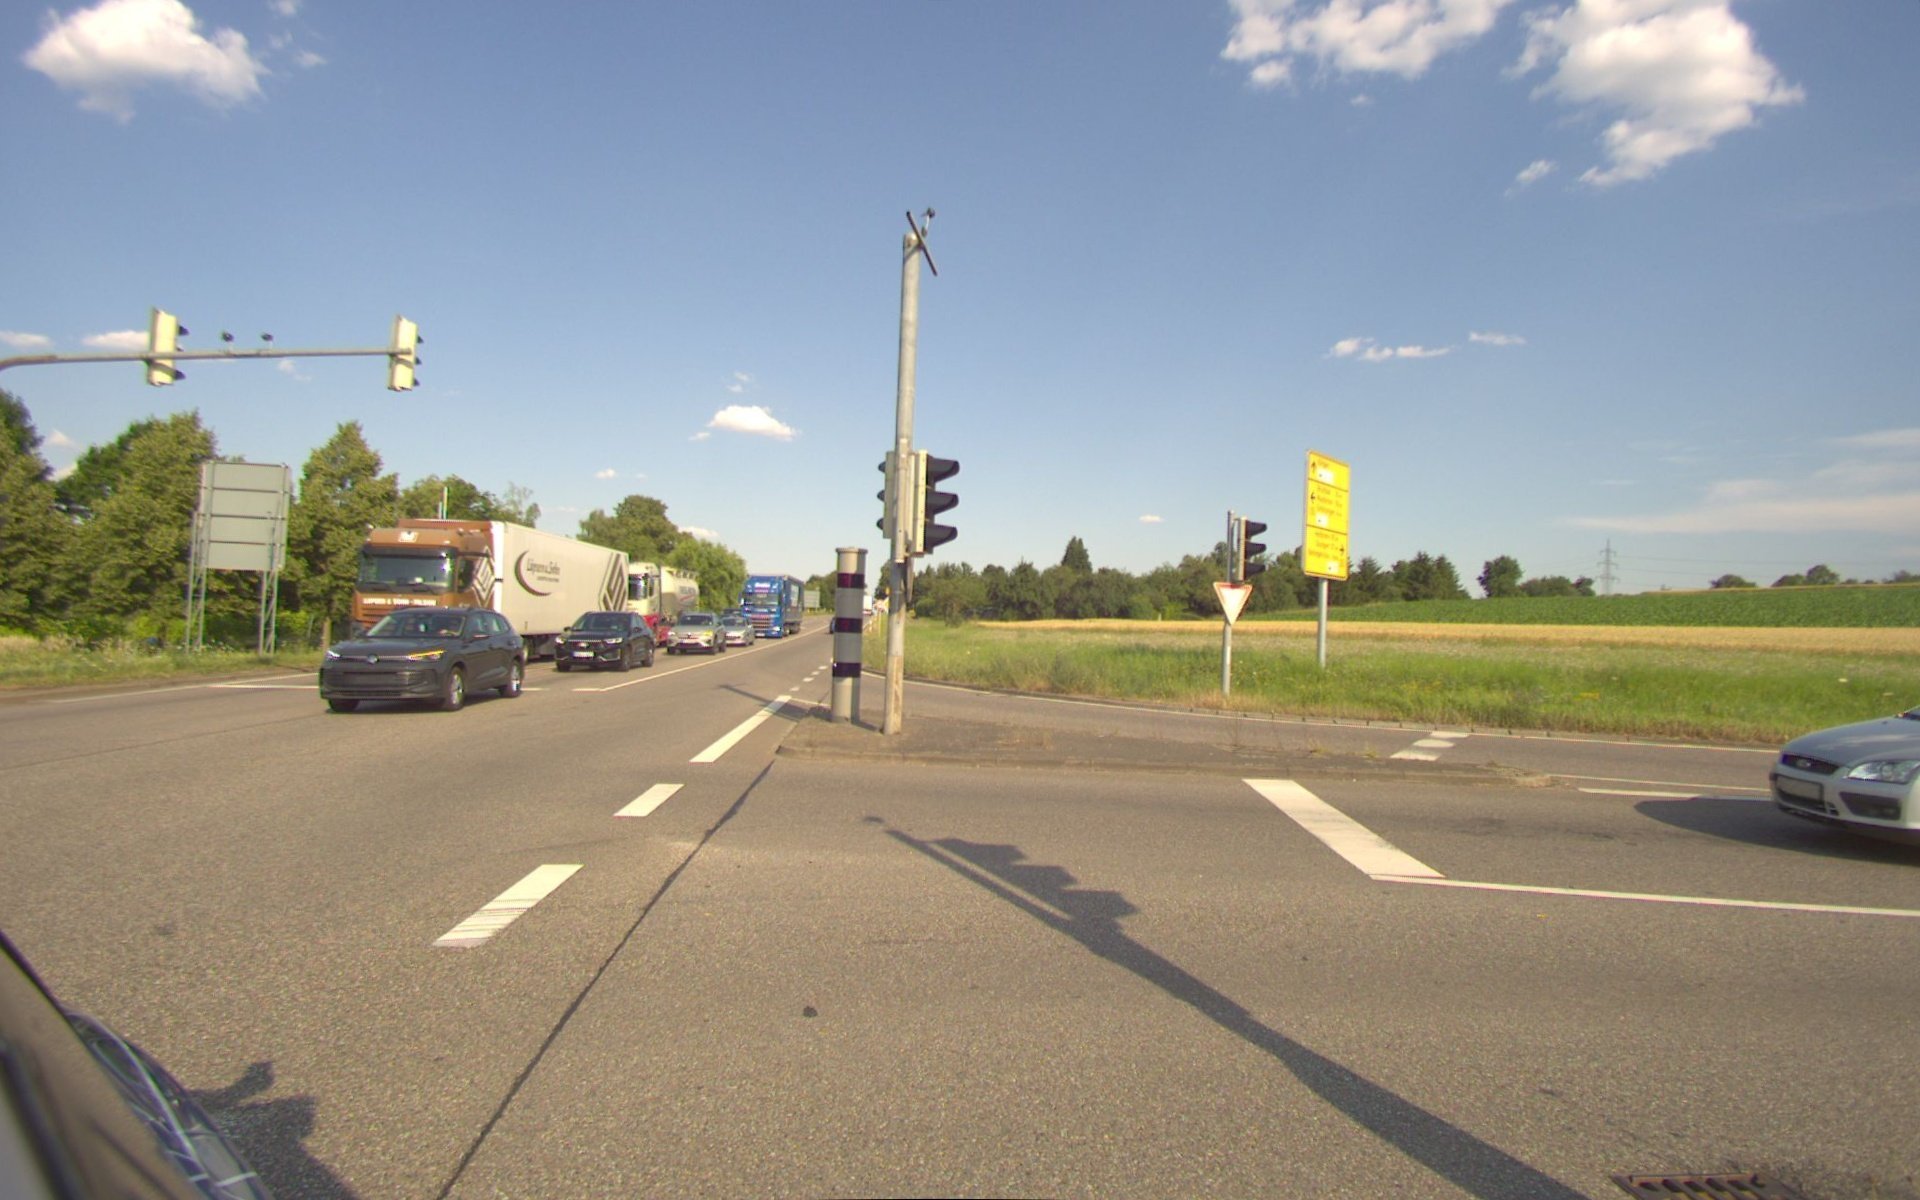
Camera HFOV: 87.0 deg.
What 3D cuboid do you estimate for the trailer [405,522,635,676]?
[{"bbox_3d":[-14.013,0.171,34.133,2.502,4.098,14.348,0,-2,-4],"label":"trailer"}]

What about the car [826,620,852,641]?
[{"bbox_3d":[-9.087,2.302,75.809,1.737,1.512,4.007,2,-2,-8],"label":"car"}]

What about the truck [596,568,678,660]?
[{"bbox_3d":[-14.321,0.630,45.200,2.228,3.834,5.692,0,-1,-5],"label":"truck"}]

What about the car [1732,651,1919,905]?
[{"bbox_3d":[8.240,1.125,6.880,4.308,1.540,1.813,-2,-2,12],"label":"car"}]

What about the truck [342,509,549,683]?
[{"bbox_3d":[-13.427,-0.026,27.114,2.502,4.074,6.667,0,-1,-4],"label":"truck"}]

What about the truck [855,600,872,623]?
[{"bbox_3d":[-19.464,2.420,204.294,3.399,4.531,9.497,0,-1,-5],"label":"truck"}]

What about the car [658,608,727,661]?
[{"bbox_3d":[-10.467,1.333,39.915,1.879,1.962,4.377,0,-1,-5],"label":"car"}]

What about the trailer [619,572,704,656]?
[{"bbox_3d":[-14.779,0.754,50.744,2.231,3.806,9.534,0,-1,-5],"label":"trailer"}]

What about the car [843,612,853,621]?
[{"bbox_3d":[-25.085,3.758,226.745,1.972,2.029,4.000,0,-1,-1],"label":"car"}]

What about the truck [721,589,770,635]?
[{"bbox_3d":[-19.097,1.145,90.761,2.492,3.802,12.910,0,-1,-4],"label":"truck"}]

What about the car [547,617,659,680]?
[{"bbox_3d":[-9.884,1.297,28.372,1.750,1.625,4.551,0,-1,-3],"label":"car"}]

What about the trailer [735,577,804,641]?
[{"bbox_3d":[-13.050,0.692,70.657,3.367,4.035,13.764,0,-1,-5],"label":"trailer"}]

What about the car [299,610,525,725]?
[{"bbox_3d":[-8.824,1.015,16.786,1.761,1.641,4.475,0,-1,-7],"label":"car"}]

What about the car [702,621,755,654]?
[{"bbox_3d":[-11.223,1.791,49.270,1.970,1.497,4.004,0,-1,-5],"label":"car"}]

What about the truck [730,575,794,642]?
[{"bbox_3d":[-12.456,0.566,64.142,3.325,4.035,5.607,0,-1,-5],"label":"truck"}]
